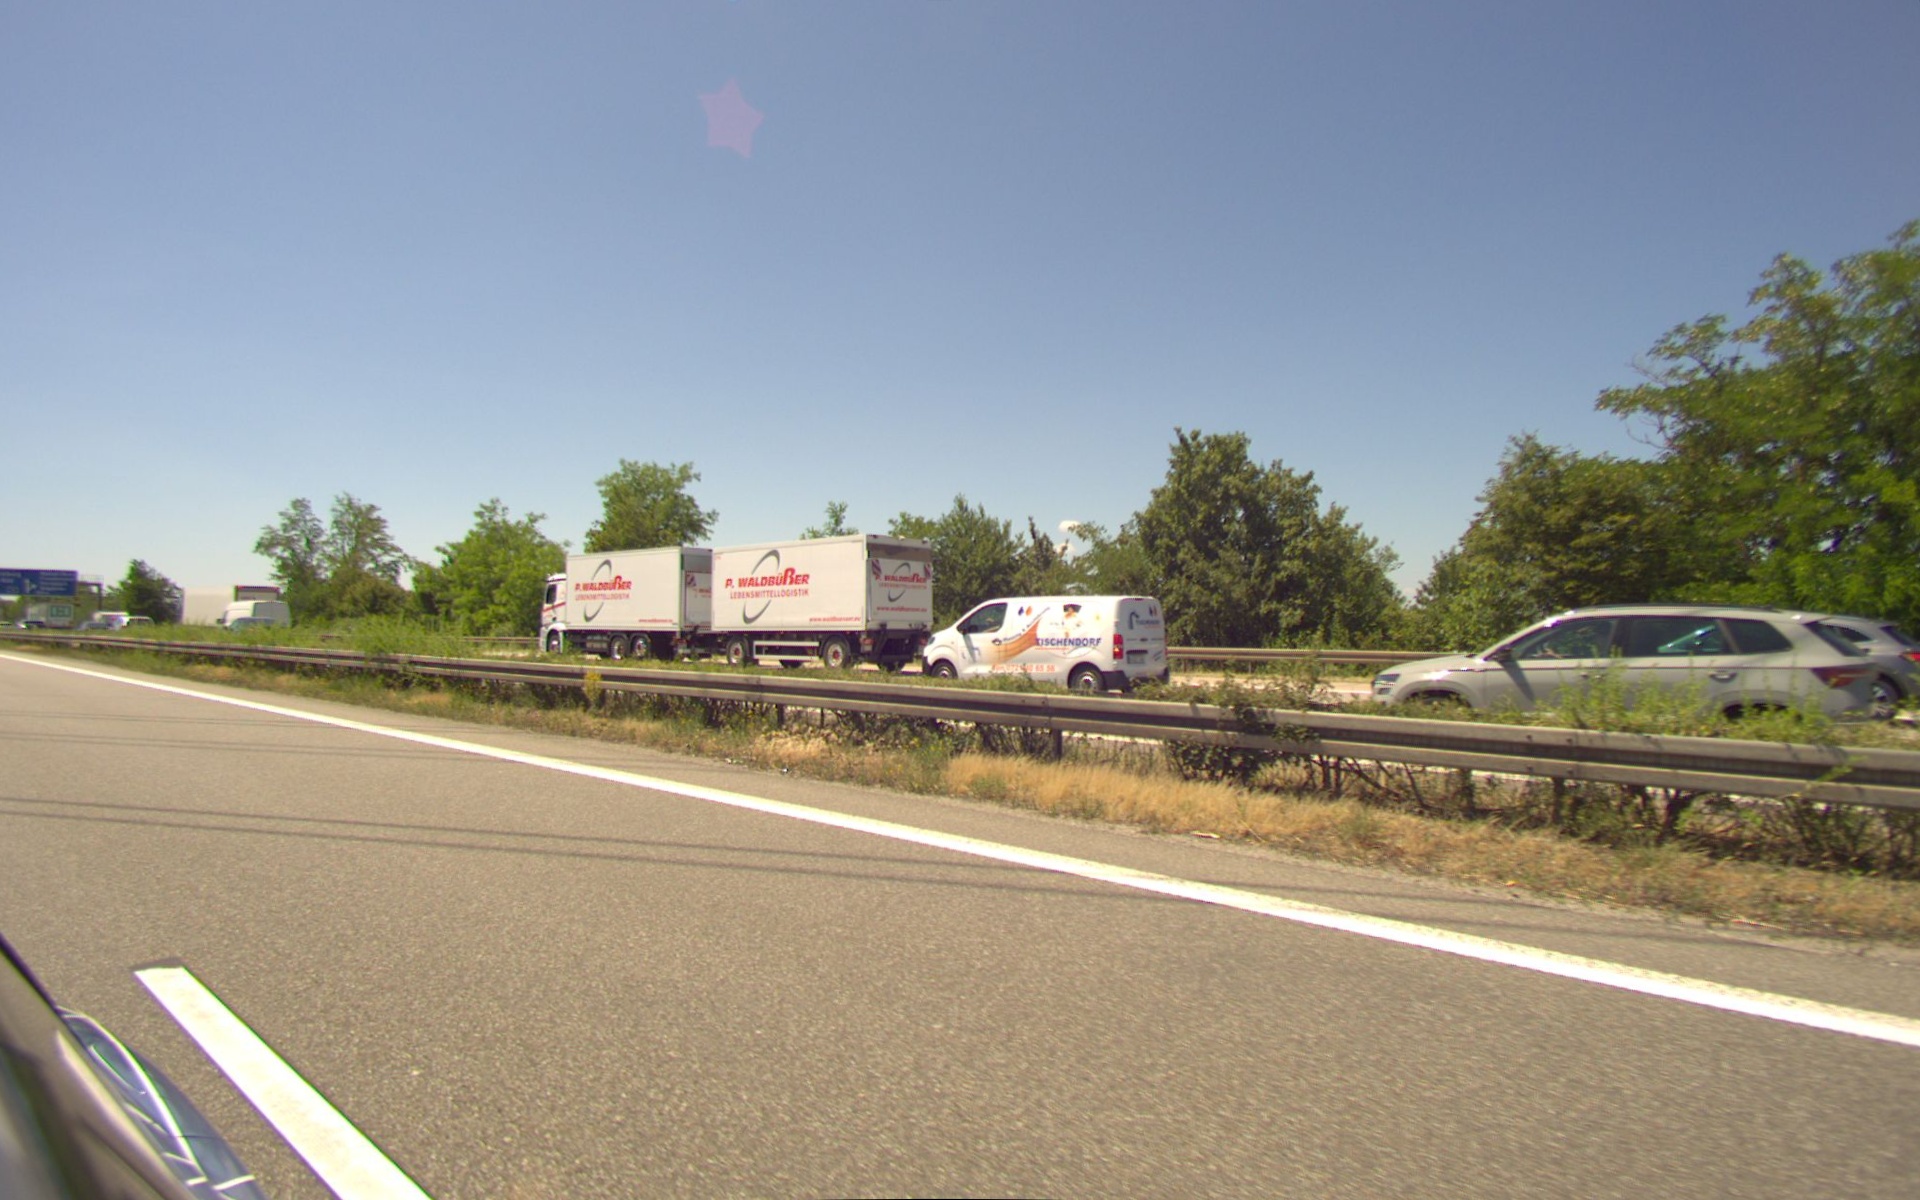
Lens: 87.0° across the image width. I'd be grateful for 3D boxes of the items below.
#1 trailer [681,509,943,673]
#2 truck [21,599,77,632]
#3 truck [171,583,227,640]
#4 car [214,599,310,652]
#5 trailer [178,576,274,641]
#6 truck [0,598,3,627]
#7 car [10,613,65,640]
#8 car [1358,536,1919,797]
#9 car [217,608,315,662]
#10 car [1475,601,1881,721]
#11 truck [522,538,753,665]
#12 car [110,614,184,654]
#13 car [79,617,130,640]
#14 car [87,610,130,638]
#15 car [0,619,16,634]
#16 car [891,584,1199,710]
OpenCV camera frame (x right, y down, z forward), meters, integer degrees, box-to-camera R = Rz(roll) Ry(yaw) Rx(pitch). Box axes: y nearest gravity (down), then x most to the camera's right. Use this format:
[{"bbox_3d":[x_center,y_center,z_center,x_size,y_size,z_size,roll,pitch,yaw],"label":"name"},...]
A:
[{"bbox_3d":[-4.576,-0.174,29.771,8.322,4.196,2.812,-1,0,41],"label":"trailer"},{"bbox_3d":[-112.362,1.926,124.684,17.004,3.831,3.211,-1,0,41],"label":"truck"},{"bbox_3d":[-58.022,0.879,77.108,4.917,4.142,2.398,-1,0,41],"label":"truck"},{"bbox_3d":[-36.925,1.332,53.426,7.118,2.599,2.457,-1,0,41],"label":"car"},{"bbox_3d":[-52.790,0.685,72.538,14.425,4.322,2.398,-1,0,41],"label":"trailer"},{"bbox_3d":[-132.634,1.665,137.600,9.492,3.948,2.826,0,1,42],"label":"truck"},{"bbox_3d":[-71.421,2.049,78.314,5.736,1.946,2.457,-1,0,41],"label":"car"},{"bbox_3d":[6.622,0.539,9.969,4.625,2.029,1.973,-1,0,42],"label":"car"},{"bbox_3d":[-28.300,1.394,41.208,5.699,2.029,1.972,-1,0,42],"label":"car"},{"bbox_3d":[11.280,0.874,16.214,5.065,1.597,1.973,-1,0,42],"label":"car"},{"bbox_3d":[-11.749,0.118,36.011,10.587,3.979,2.664,-1,0,41],"label":"truck"},{"bbox_3d":[-45.182,1.855,56.211,4.555,2.029,2.457,-1,0,41],"label":"car"},{"bbox_3d":[-67.983,2.249,80.420,4.817,1.652,2.362,-1,0,41],"label":"car"},{"bbox_3d":[-85.164,2.417,101.235,5.713,2.635,2.393,-1,-3,41],"label":"car"},{"bbox_3d":[-116.764,3.207,123.255,5.105,1.845,2.053,-1,-3,41],"label":"car"},{"bbox_3d":[1.412,0.802,18.964,5.699,2.029,1.972,-1,0,42],"label":"car"}]
